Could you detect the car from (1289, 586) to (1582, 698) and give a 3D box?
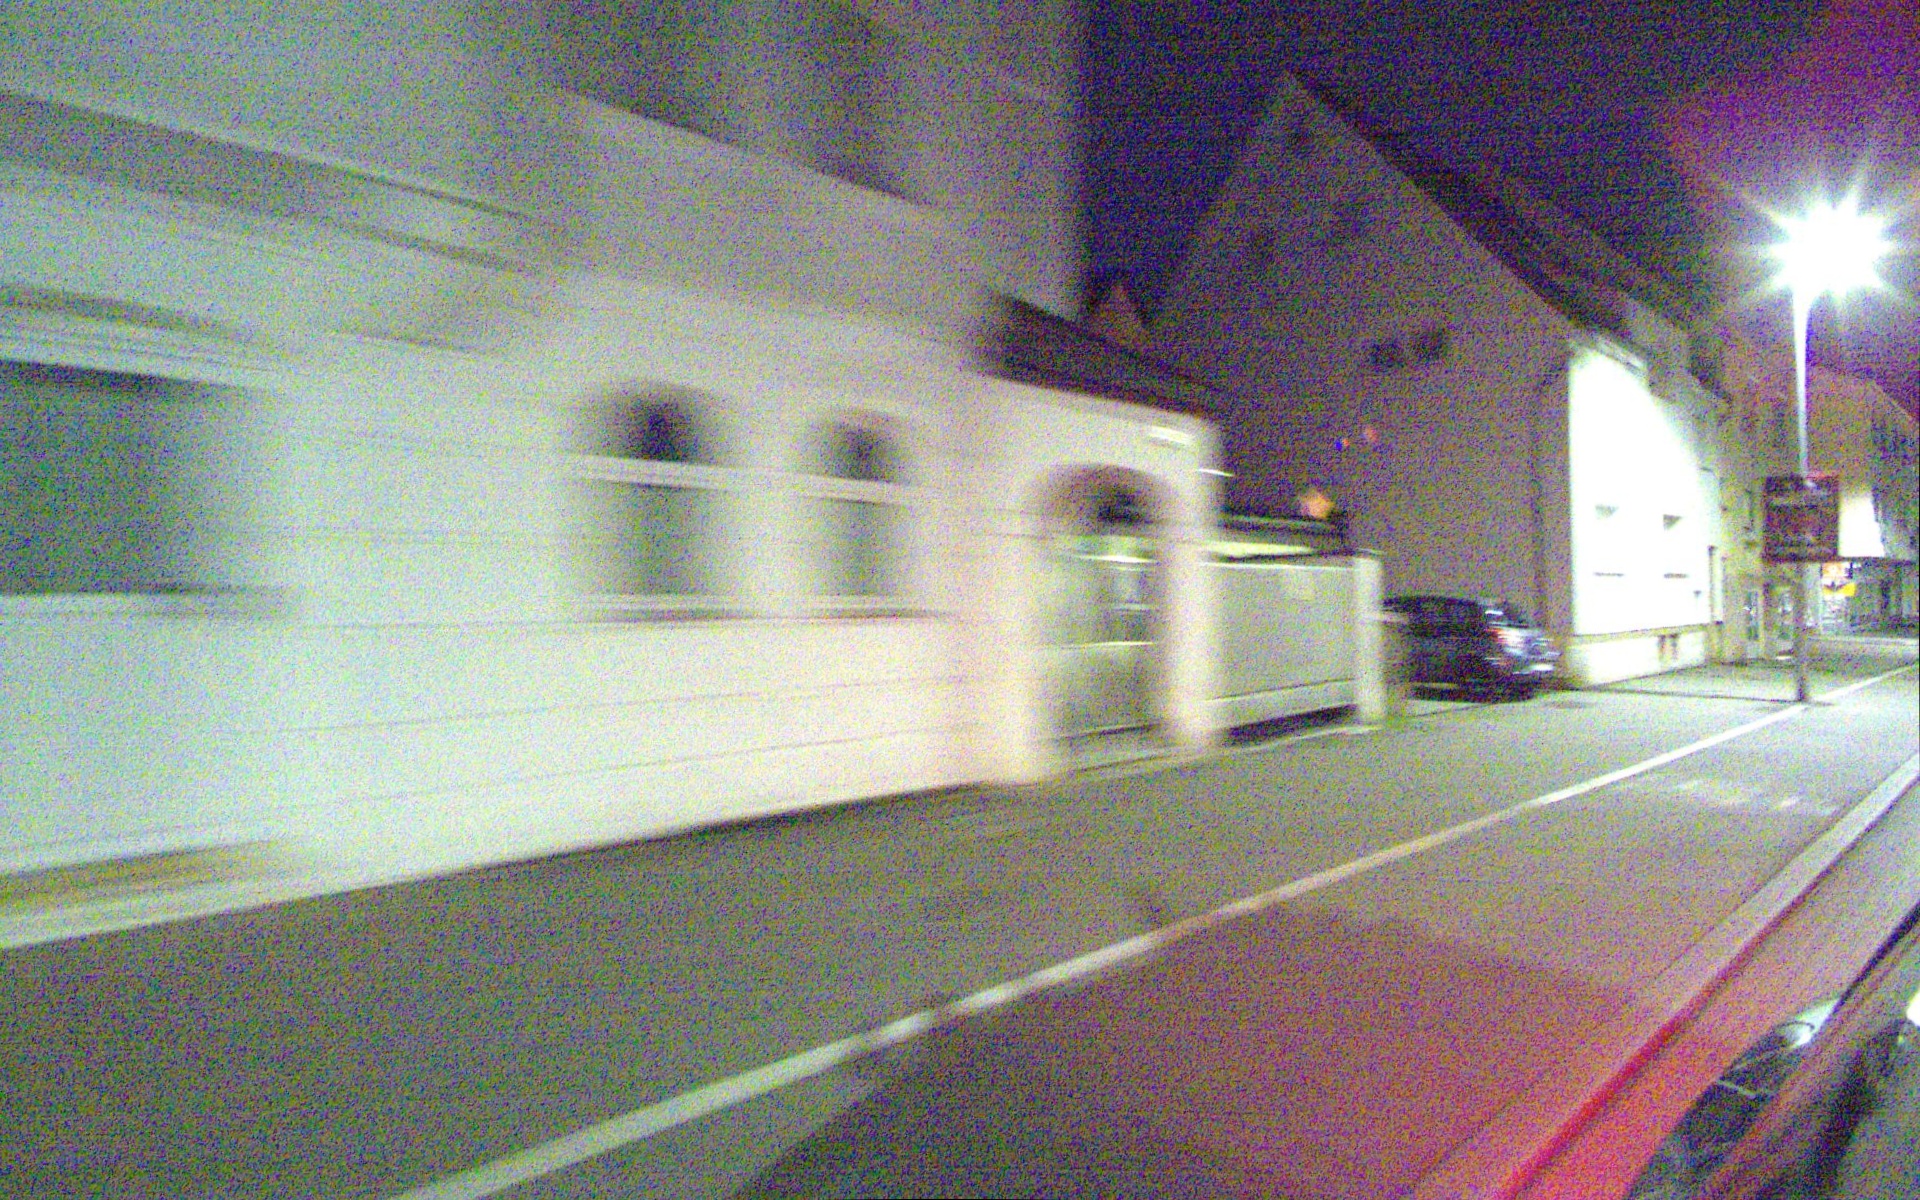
[{"bbox_3d":[7.172,0.554,15.567,1.699,1.491,3.721,-1,0,-38],"label":"car"}]

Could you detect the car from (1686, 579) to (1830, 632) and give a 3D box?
[{"bbox_3d":[26.886,0.146,34.160,1.789,1.543,3.513,0,4,-41],"label":"car"}]
